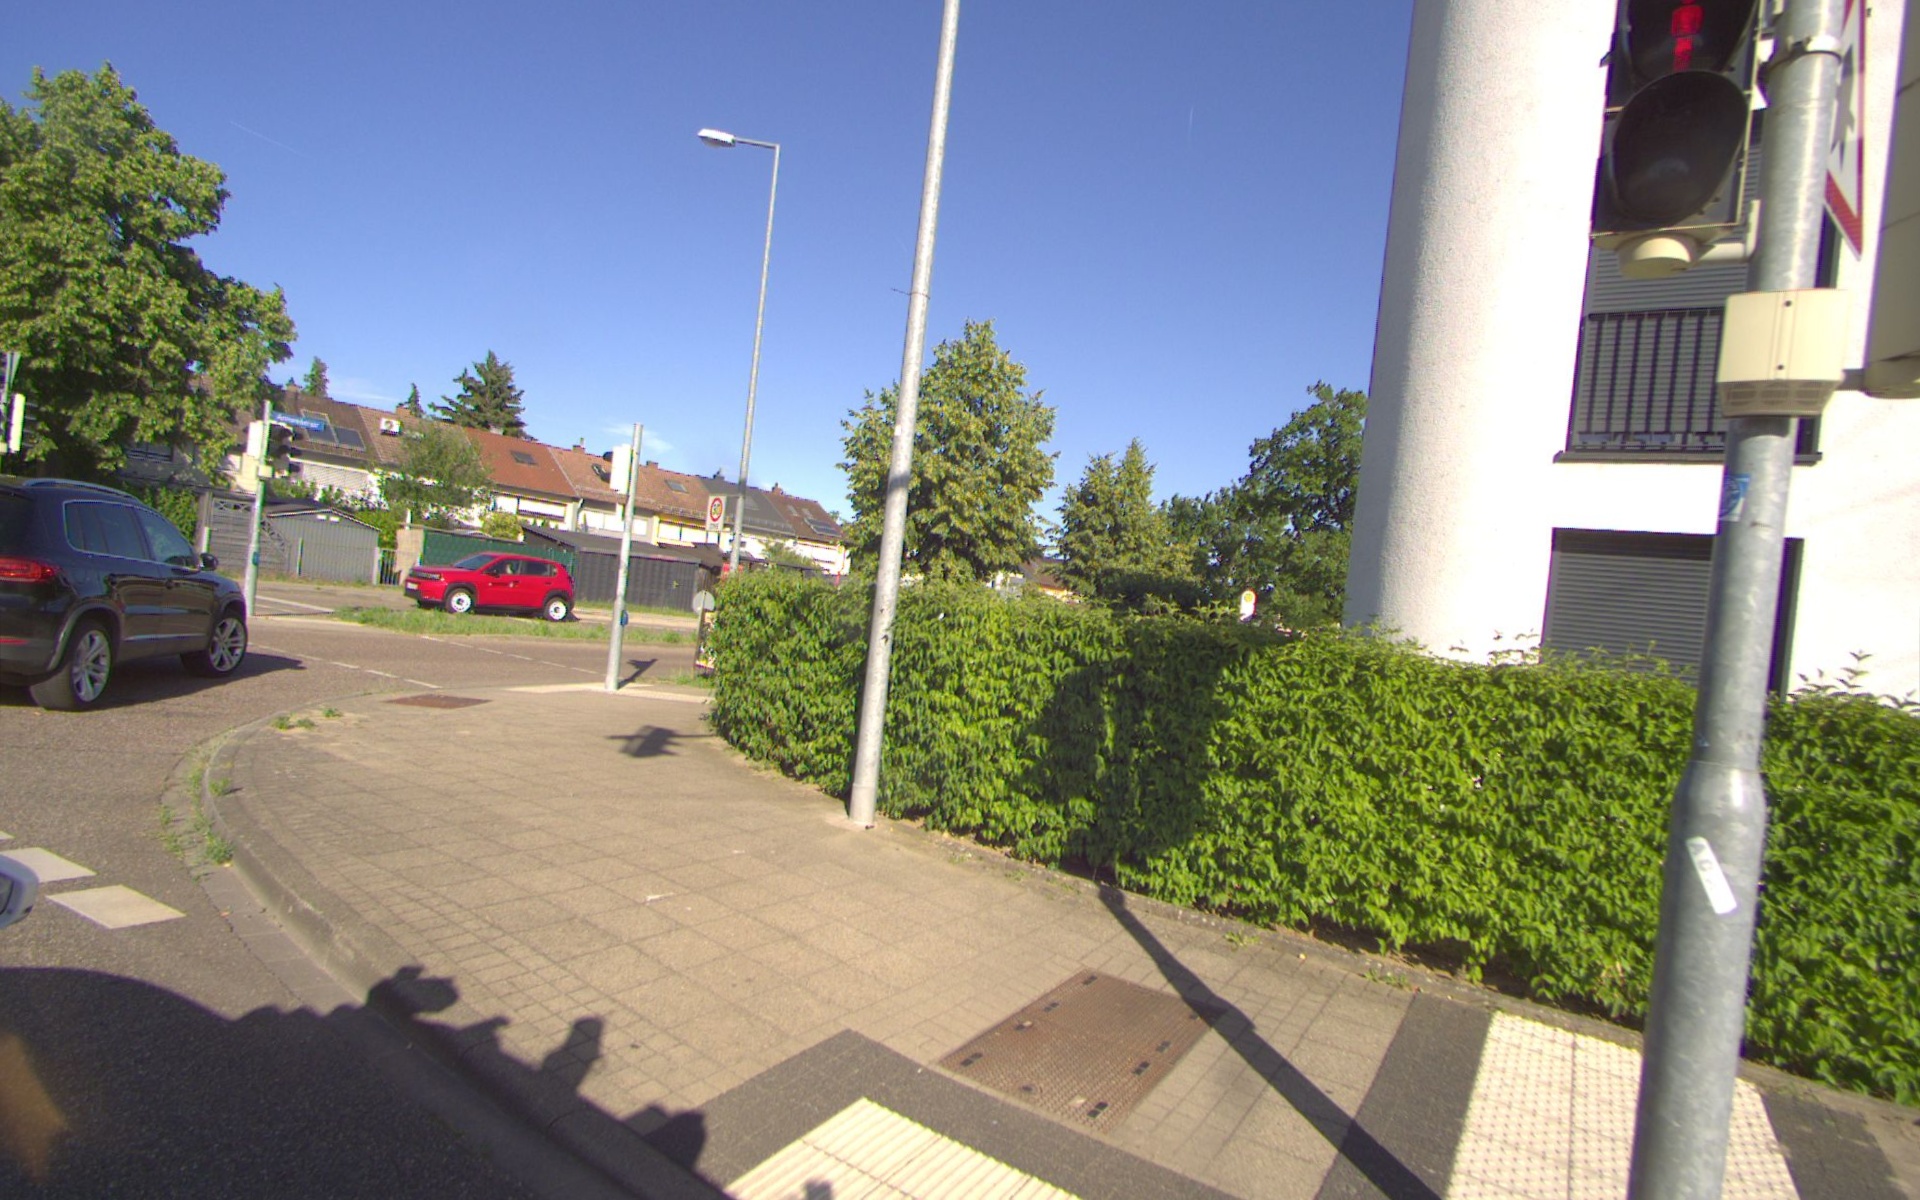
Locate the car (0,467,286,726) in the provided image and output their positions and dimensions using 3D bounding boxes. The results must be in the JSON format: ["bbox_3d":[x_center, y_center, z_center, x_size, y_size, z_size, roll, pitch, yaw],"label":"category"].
[{"bbox_3d":[-7.657,-0.155,8.525,1.908,1.673,4.498,8,-1,-18],"label":"car"}]

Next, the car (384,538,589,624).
[{"bbox_3d":[-11.827,-0.431,25.370,1.917,1.608,4.166,7,-1,37],"label":"car"}]

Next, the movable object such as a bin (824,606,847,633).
[{"bbox_3d":[-5.081,0.783,40.967,0.585,0.980,0.556,12,3,38],"label":"movable object such as a bin"}]
